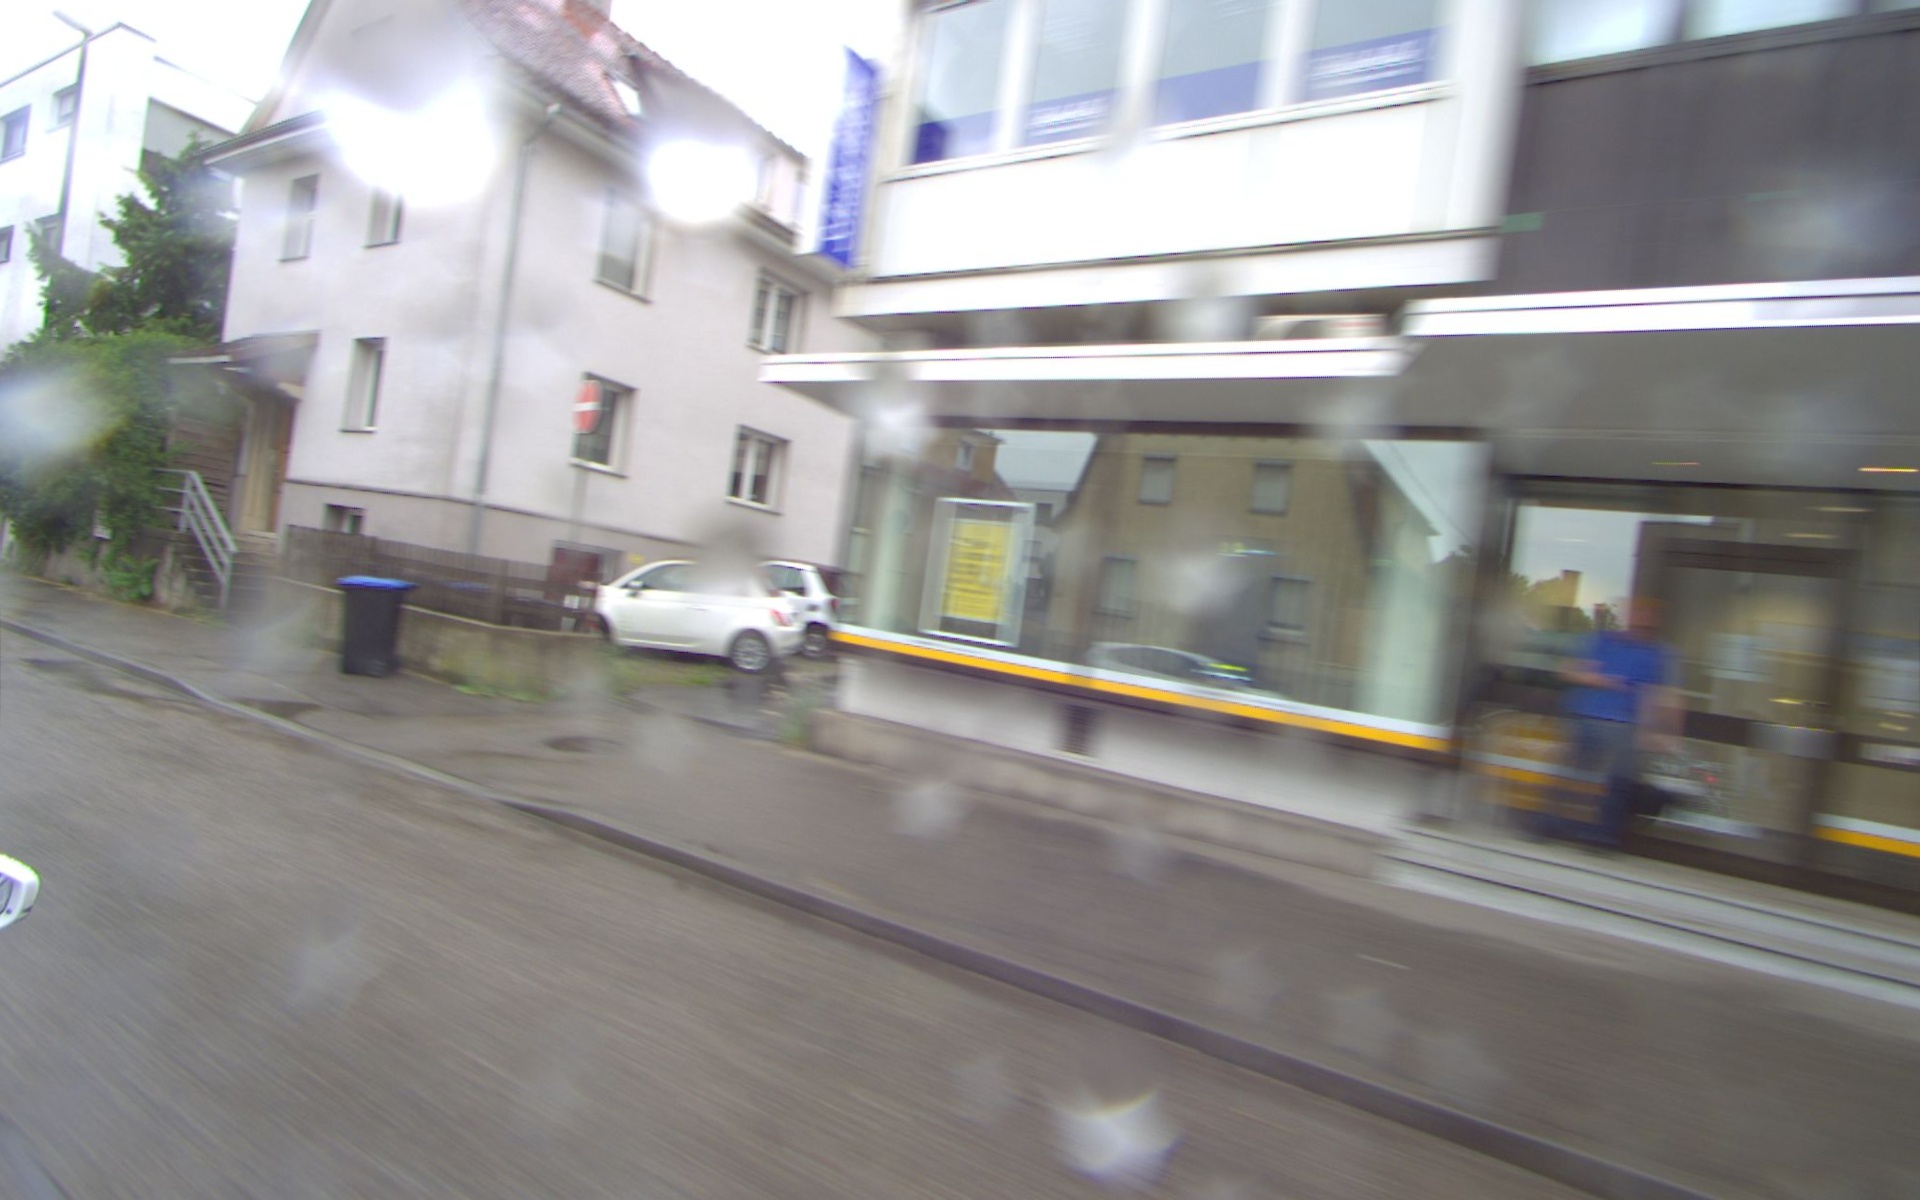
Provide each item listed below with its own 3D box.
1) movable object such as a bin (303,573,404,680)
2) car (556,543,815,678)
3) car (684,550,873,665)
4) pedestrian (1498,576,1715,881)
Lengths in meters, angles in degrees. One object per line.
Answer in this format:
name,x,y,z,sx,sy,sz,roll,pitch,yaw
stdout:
movable object such as a bin,-6.727,0.292,11.158,0.816,1.062,0.576,9,2,32
car,-3.931,0.126,14.696,3.278,1.522,1.354,6,2,1
car,-3.085,0.108,17.170,2.759,1.565,1.316,7,3,18
pedestrian,4.335,0.821,6.753,0.939,1.802,0.729,8,1,40
